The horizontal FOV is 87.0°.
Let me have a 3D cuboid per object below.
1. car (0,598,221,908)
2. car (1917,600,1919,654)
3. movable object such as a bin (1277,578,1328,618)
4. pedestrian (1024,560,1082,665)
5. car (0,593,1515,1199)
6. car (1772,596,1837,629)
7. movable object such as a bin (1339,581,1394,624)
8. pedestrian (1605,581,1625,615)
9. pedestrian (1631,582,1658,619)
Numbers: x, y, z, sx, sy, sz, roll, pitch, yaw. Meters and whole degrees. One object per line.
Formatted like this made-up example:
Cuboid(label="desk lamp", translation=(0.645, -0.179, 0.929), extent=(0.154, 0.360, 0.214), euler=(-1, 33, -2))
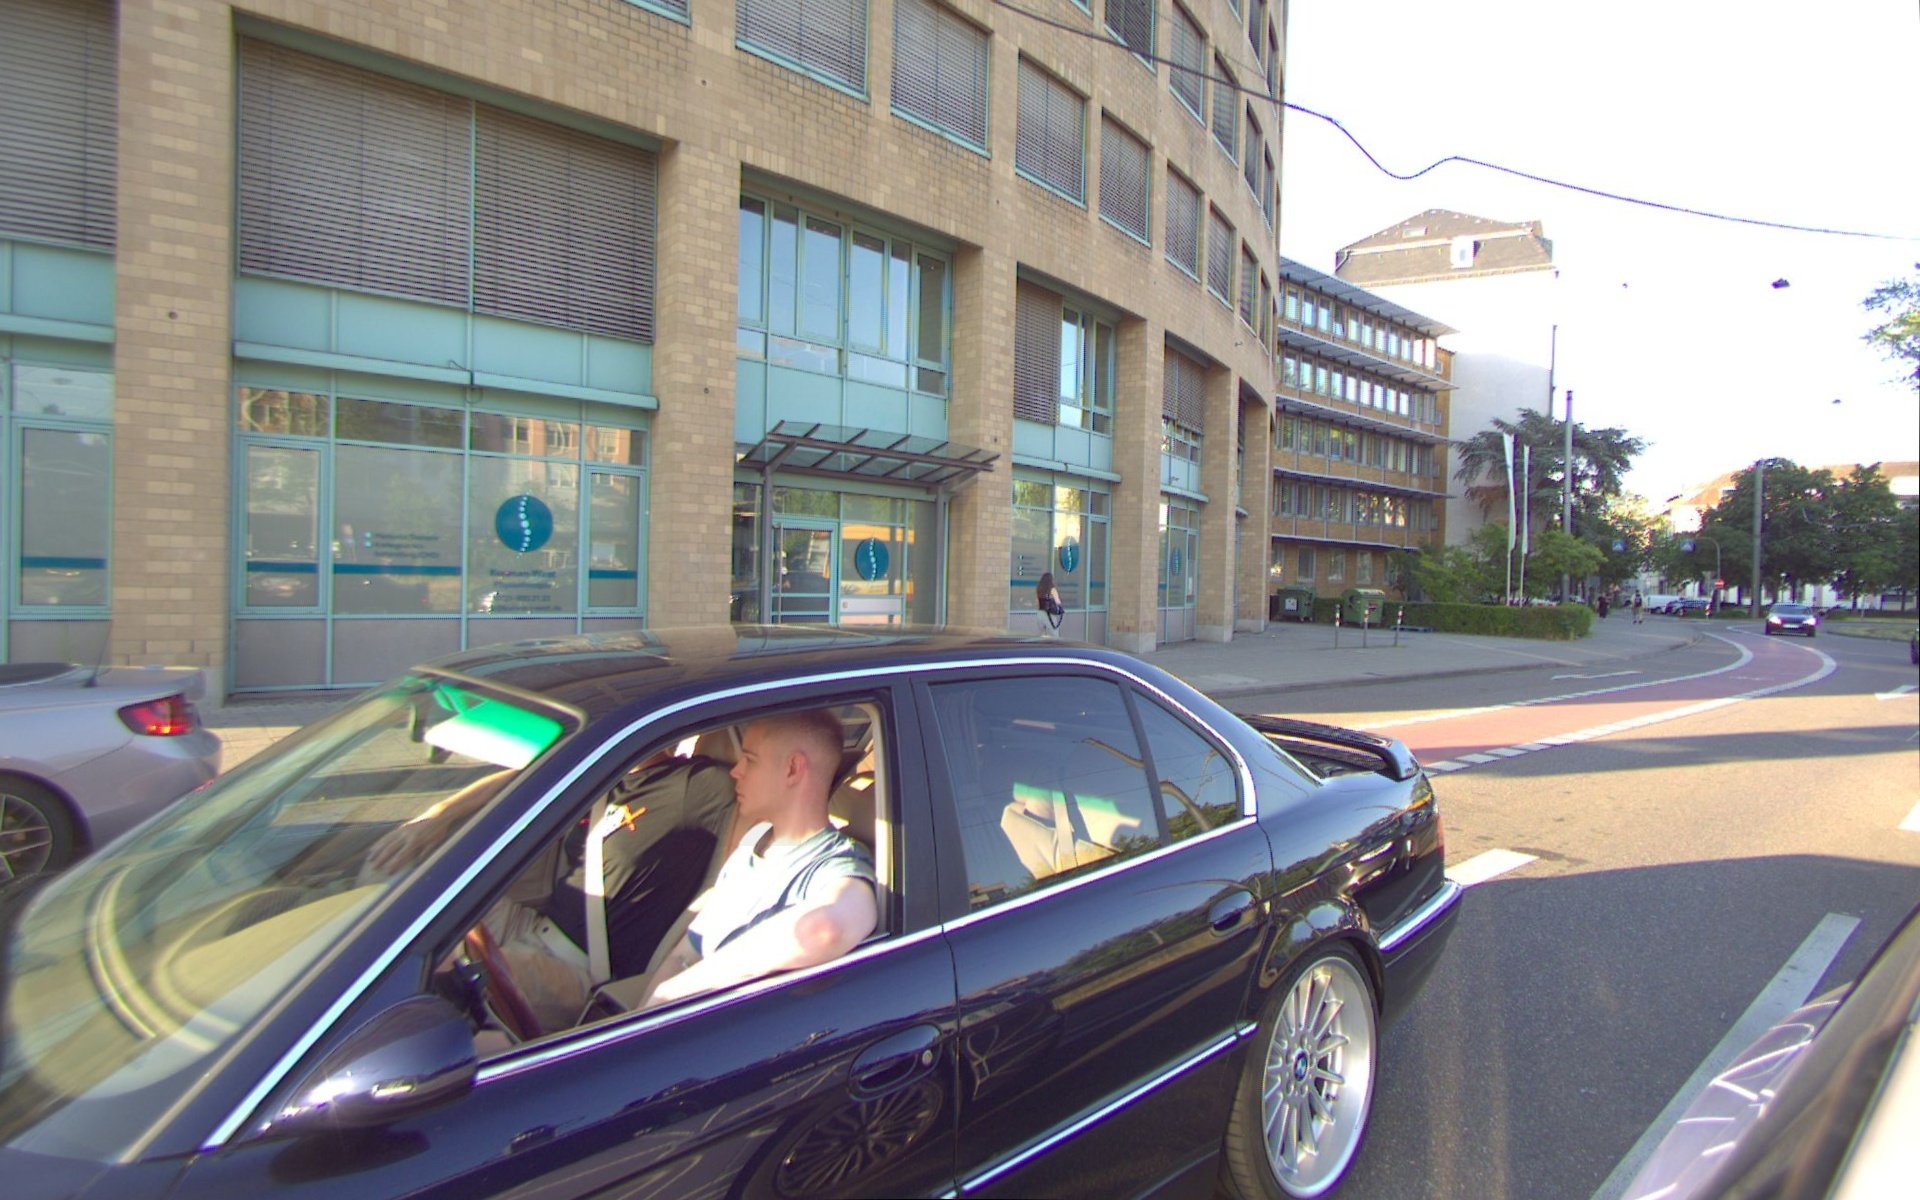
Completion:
Cuboid(label="car", translation=(-5.910, 0.701, 4.467), extent=(4.153, 1.403, 1.746), euler=(0, 0, -41))
Cuboid(label="car", translation=(25.871, 0.778, 25.503), extent=(1.988, 1.479, 4.090), euler=(2, 2, 36))
Cuboid(label="movable object such as a bin", translation=(13.356, -0.080, 39.509), extent=(1.310, 1.477, 1.425), euler=(0, 1, -43))
Cuboid(label="pedestrian", translation=(1.547, 0.199, 16.857), extent=(0.702, 1.702, 0.626), euler=(0, 1, -44))
Cuboid(label="car", translation=(-0.714, 0.702, 2.325), extent=(4.656, 1.402, 1.997), euler=(0, 1, -41))
Cuboid(label="car", translation=(38.046, 0.542, 45.566), extent=(3.932, 1.405, 1.756), euler=(0, 0, -42))
Cuboid(label="movable object such as a bin", translation=(14.831, 0.072, 36.922), extent=(1.311, 1.477, 1.424), euler=(0, 1, -45))
Cuboid(label="pedestrian", translation=(35.877, -0.137, 55.427), extent=(0.711, 1.830, 0.728), euler=(0, 1, -41))
Cuboid(label="pedestrian", translation=(37.020, 0.016, 54.774), extent=(0.899, 1.918, 1.120), euler=(1, 1, 18))
